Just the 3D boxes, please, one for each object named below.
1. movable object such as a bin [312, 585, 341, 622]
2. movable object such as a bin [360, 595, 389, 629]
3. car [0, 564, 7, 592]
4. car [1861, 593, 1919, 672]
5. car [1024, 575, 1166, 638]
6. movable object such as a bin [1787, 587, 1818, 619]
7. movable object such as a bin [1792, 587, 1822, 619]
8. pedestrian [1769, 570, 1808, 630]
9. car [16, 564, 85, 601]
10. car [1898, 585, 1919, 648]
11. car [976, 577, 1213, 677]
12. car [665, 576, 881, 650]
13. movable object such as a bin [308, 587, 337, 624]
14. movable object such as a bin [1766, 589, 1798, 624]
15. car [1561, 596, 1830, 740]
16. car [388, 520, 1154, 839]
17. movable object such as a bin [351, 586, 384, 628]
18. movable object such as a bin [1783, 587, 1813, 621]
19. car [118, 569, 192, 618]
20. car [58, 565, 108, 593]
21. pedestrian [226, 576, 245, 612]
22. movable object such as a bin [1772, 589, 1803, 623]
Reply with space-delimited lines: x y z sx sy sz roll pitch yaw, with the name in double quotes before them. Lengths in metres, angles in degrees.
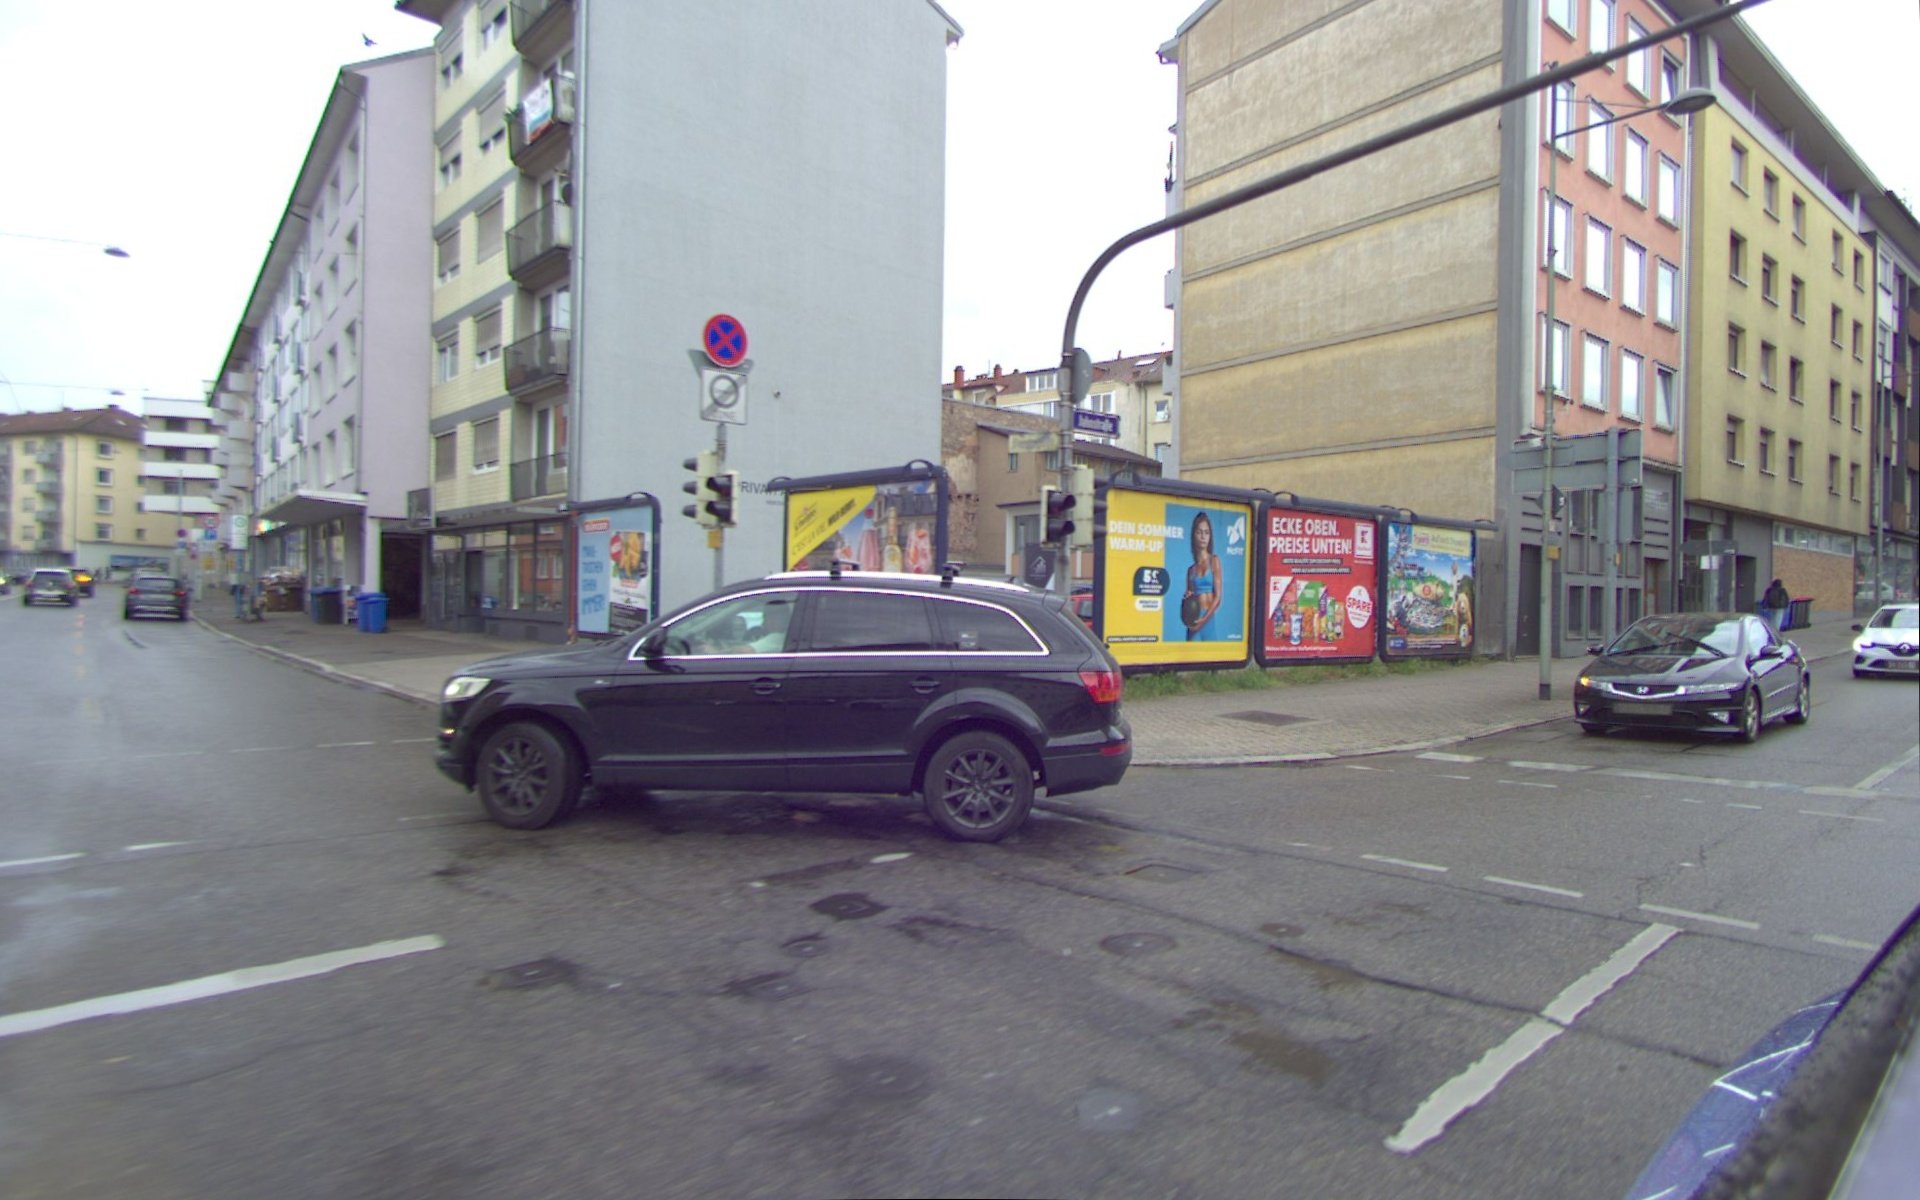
"movable object such as a bin" -19.686 0.108 31.425 0.685 1.152 0.640 0 -2 -40
"movable object such as a bin" -16.036 0.328 27.709 0.611 0.919 0.533 0 -2 -40
"car" -53.404 -1.228 55.170 1.822 1.504 3.997 0 1 -39
"car" 19.449 0.605 20.199 3.930 1.421 1.679 -1 1 -41
"car" 3.865 0.215 30.046 2.111 1.711 4.788 0 -1 -21
"movable object such as a bin" 28.833 0.098 34.632 0.656 1.090 0.682 -1 1 -39
"movable object such as a bin" 29.350 0.099 35.066 0.656 1.090 0.682 -1 1 -39
"pedestrian" 25.562 -0.006 31.221 1.075 1.810 0.674 0 0 -36
"car" -38.714 -0.775 43.151 1.964 1.504 3.997 0 1 -39
"car" 25.135 0.363 25.201 5.202 1.404 2.038 -2 3 -41
"car" 2.303 0.394 17.826 3.652 1.571 2.055 1 1 44
"car" -3.997 0.237 21.962 4.255 1.458 1.878 0 1 -41
"movable object such as a bin" -20.129 0.170 31.939 0.685 1.152 0.640 0 -2 -40
"movable object such as a bin" 26.737 0.210 32.921 0.656 1.090 0.682 -1 1 -39
"car" 9.273 0.736 12.653 3.984 1.516 1.787 0 -2 -40
"car" -1.198 0.482 7.380 4.808 1.893 2.027 1 0 2
"movable object such as a bin" -16.505 0.192 28.190 0.685 1.152 0.640 0 -2 -40
"movable object such as a bin" 28.302 0.126 34.186 0.656 1.090 0.682 -1 1 -39
"car" -28.439 -0.256 35.846 1.954 1.638 4.125 0 1 -38
"car" -49.043 -1.171 56.637 1.964 1.504 3.997 0 1 -39
"pedestrian" -31.128 -0.250 43.450 0.615 1.522 0.705 0 -2 -40
"movable object such as a bin" 27.275 0.183 33.351 0.656 1.090 0.682 -1 1 -39
